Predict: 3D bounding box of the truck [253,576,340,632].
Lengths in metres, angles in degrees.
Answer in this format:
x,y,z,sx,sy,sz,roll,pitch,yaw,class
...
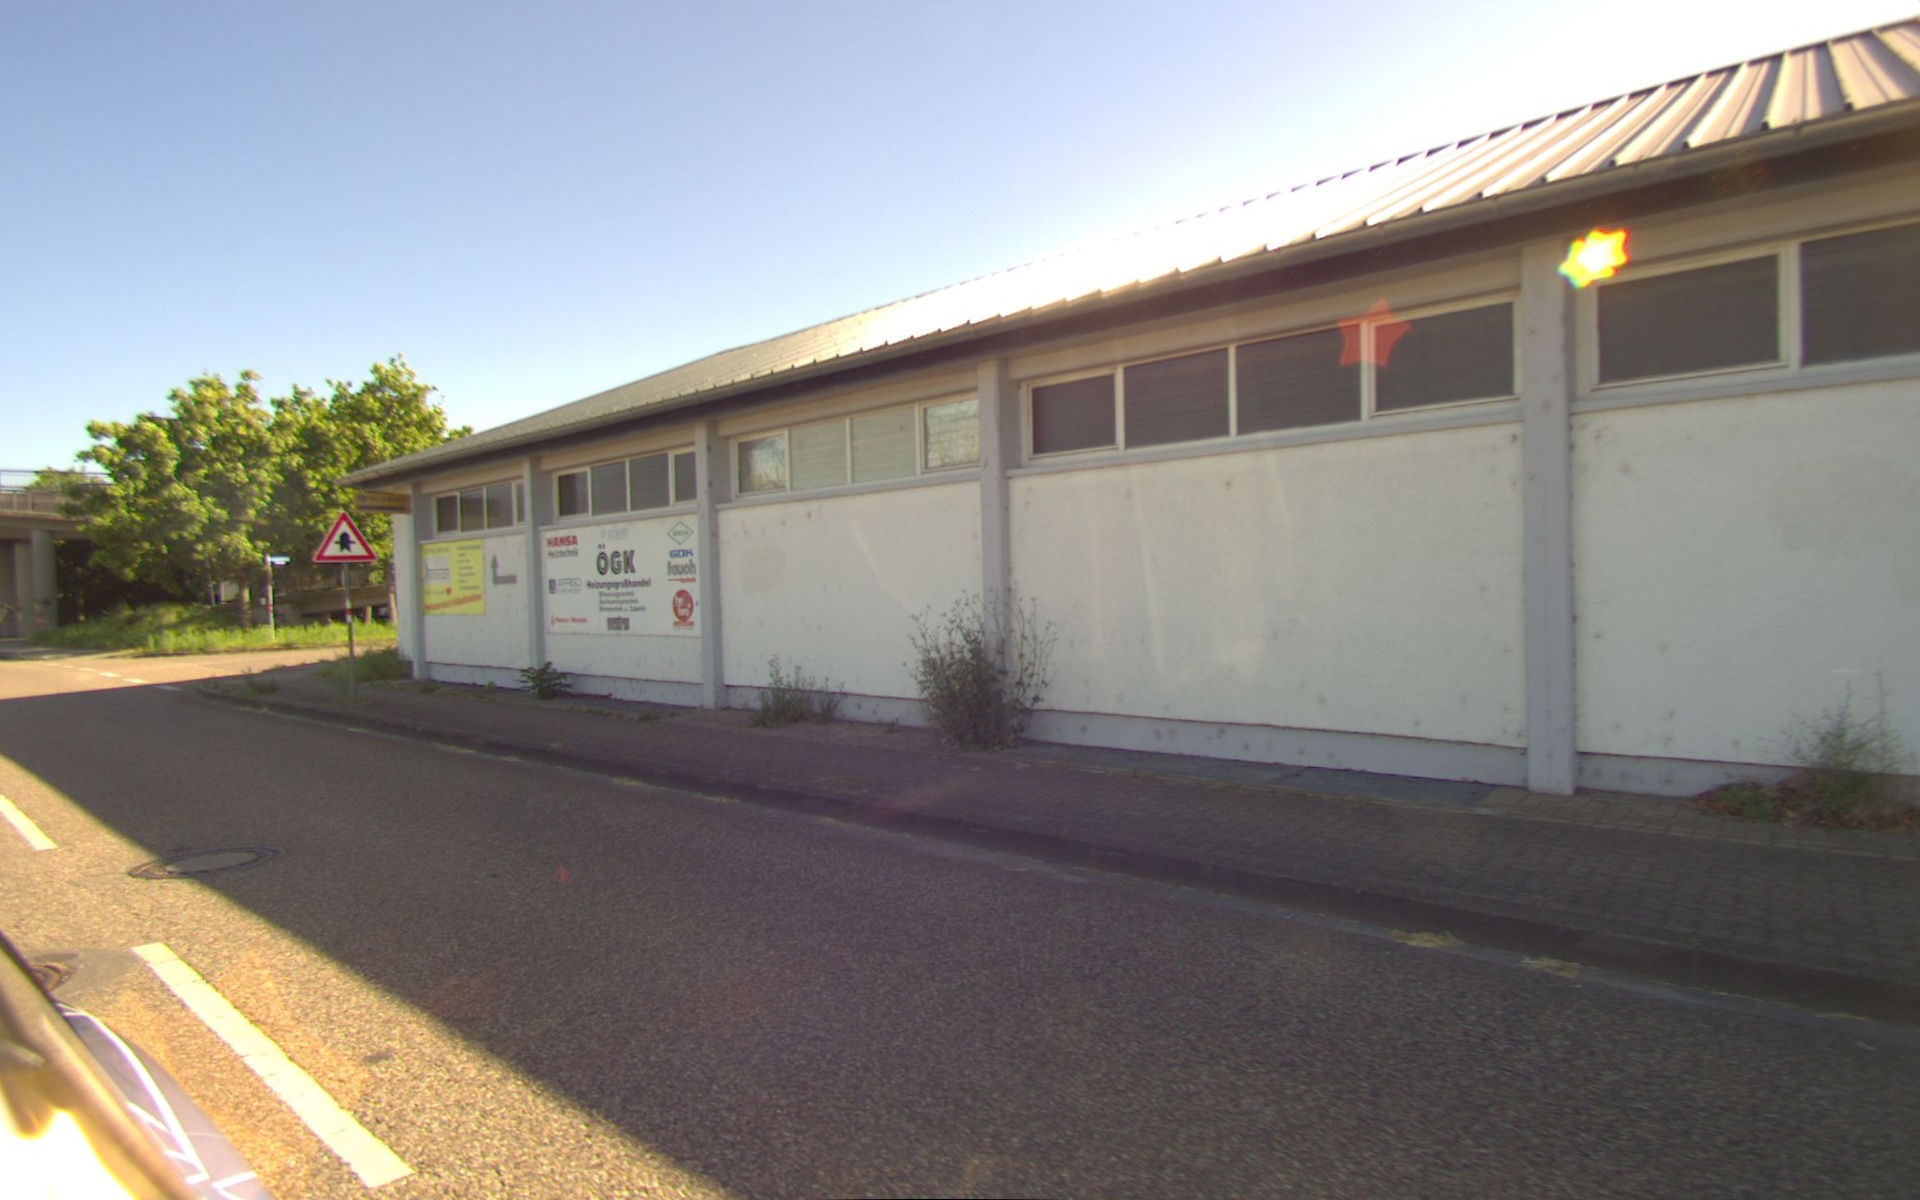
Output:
x,y,z,sx,sy,sz,roll,pitch,yaw,class
-45.638,0.258,69.868,2.441,3.578,7.989,-1,1,-14,truck

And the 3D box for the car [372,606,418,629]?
x,y,z,sx,sy,sz,roll,pitch,yaw,class
-38.772,1.201,69.562,1.711,1.453,4.262,-2,1,-15,car

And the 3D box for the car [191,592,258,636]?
x,y,z,sx,sy,sz,roll,pitch,yaw,class
-48.228,0.923,66.500,1.913,2.702,6.028,-2,0,-20,car

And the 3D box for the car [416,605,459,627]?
x,y,z,sx,sy,sz,roll,pitch,yaw,class
-36.259,1.091,70.324,1.711,1.453,4.262,-2,1,-15,car

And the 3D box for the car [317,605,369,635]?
x,y,z,sx,sy,sz,roll,pitch,yaw,class
-35.105,1.120,57.701,1.654,1.564,4.312,-1,0,-19,car
